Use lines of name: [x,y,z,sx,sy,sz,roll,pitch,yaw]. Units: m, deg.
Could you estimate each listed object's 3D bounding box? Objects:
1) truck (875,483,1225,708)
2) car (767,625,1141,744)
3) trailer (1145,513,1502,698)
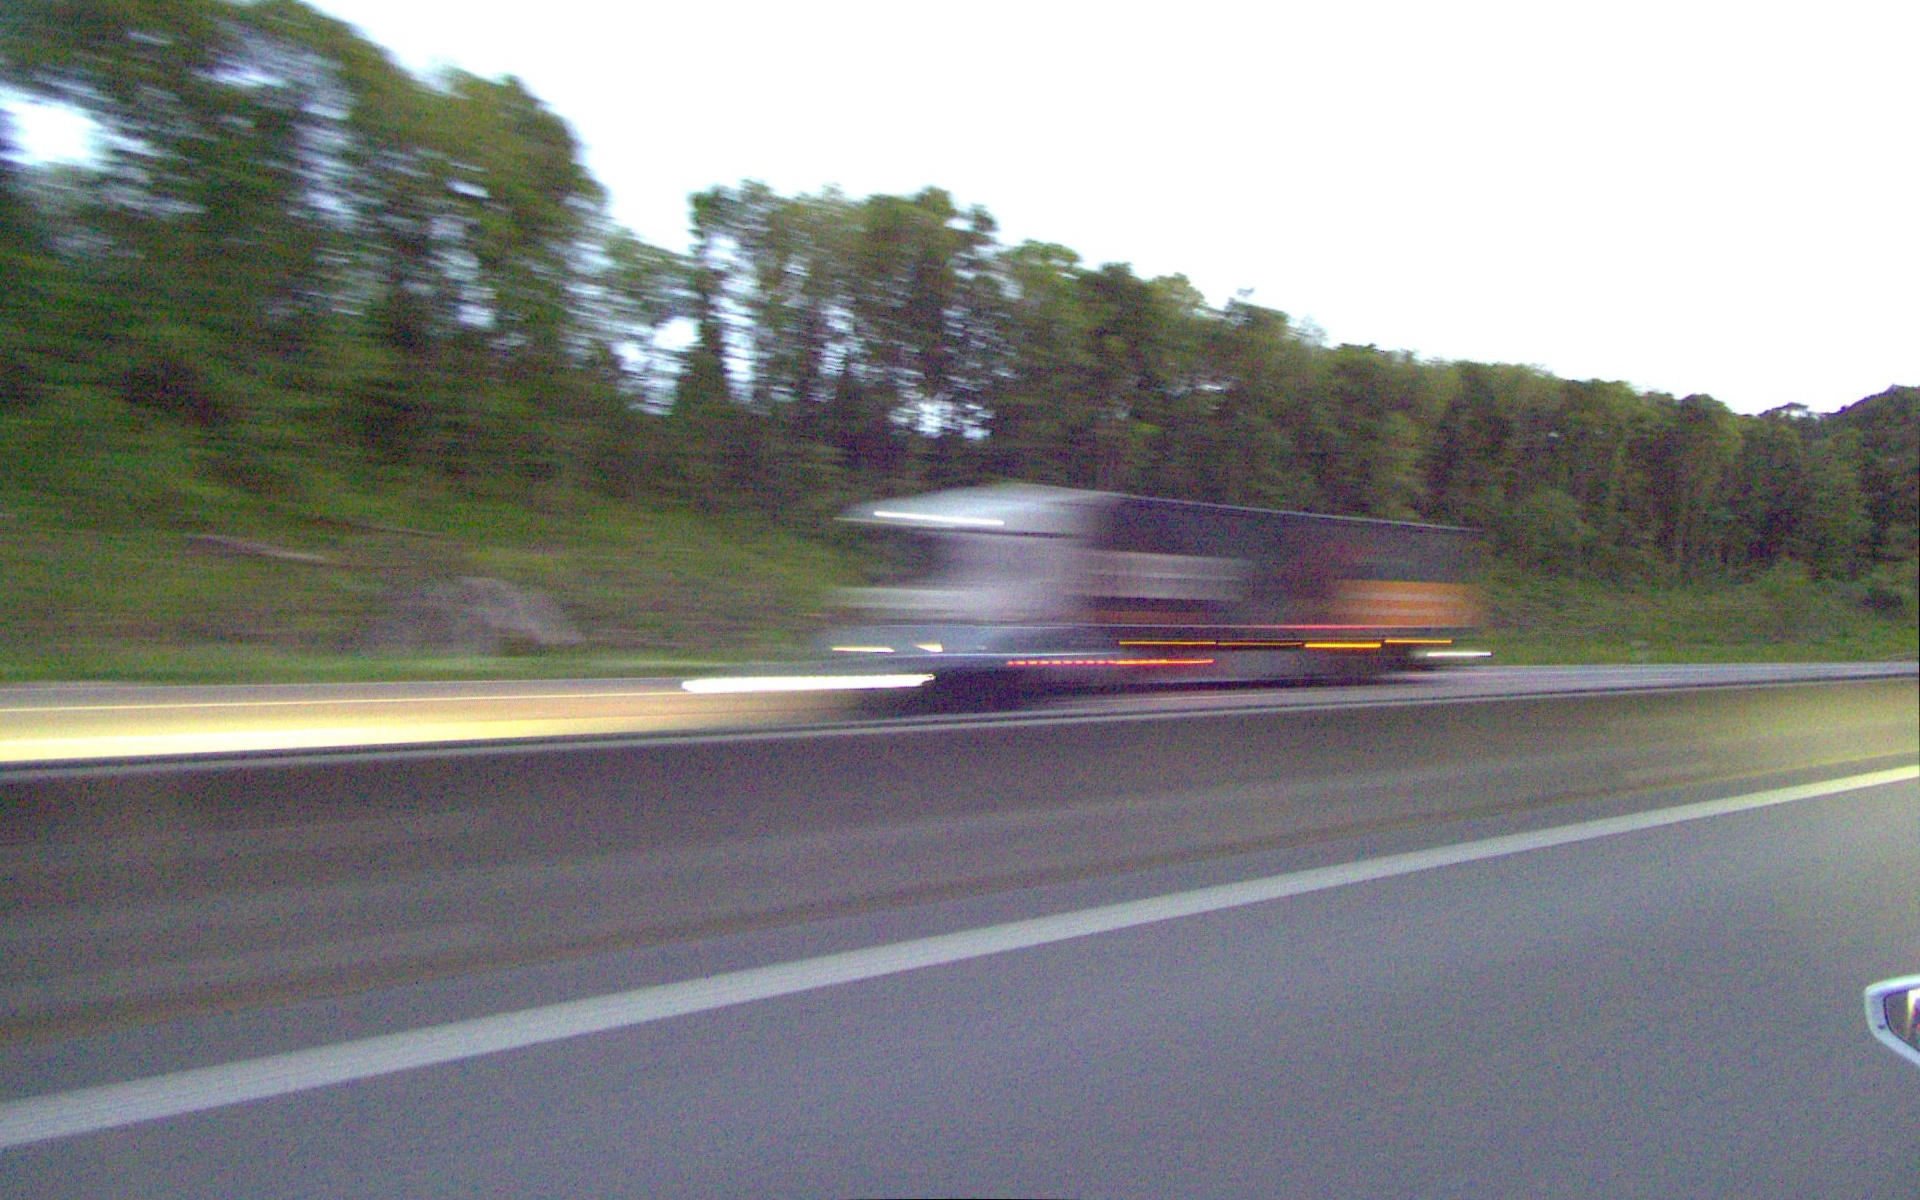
truck: [1.999,0.018,20.931,7.040,4.024,2.634,2,-1,-31]
car: [0.004,1.156,14.837,5.292,1.471,1.901,2,-1,-30]
trailer: [9.431,0.259,25.345,10.066,3.982,2.634,2,-1,-30]
